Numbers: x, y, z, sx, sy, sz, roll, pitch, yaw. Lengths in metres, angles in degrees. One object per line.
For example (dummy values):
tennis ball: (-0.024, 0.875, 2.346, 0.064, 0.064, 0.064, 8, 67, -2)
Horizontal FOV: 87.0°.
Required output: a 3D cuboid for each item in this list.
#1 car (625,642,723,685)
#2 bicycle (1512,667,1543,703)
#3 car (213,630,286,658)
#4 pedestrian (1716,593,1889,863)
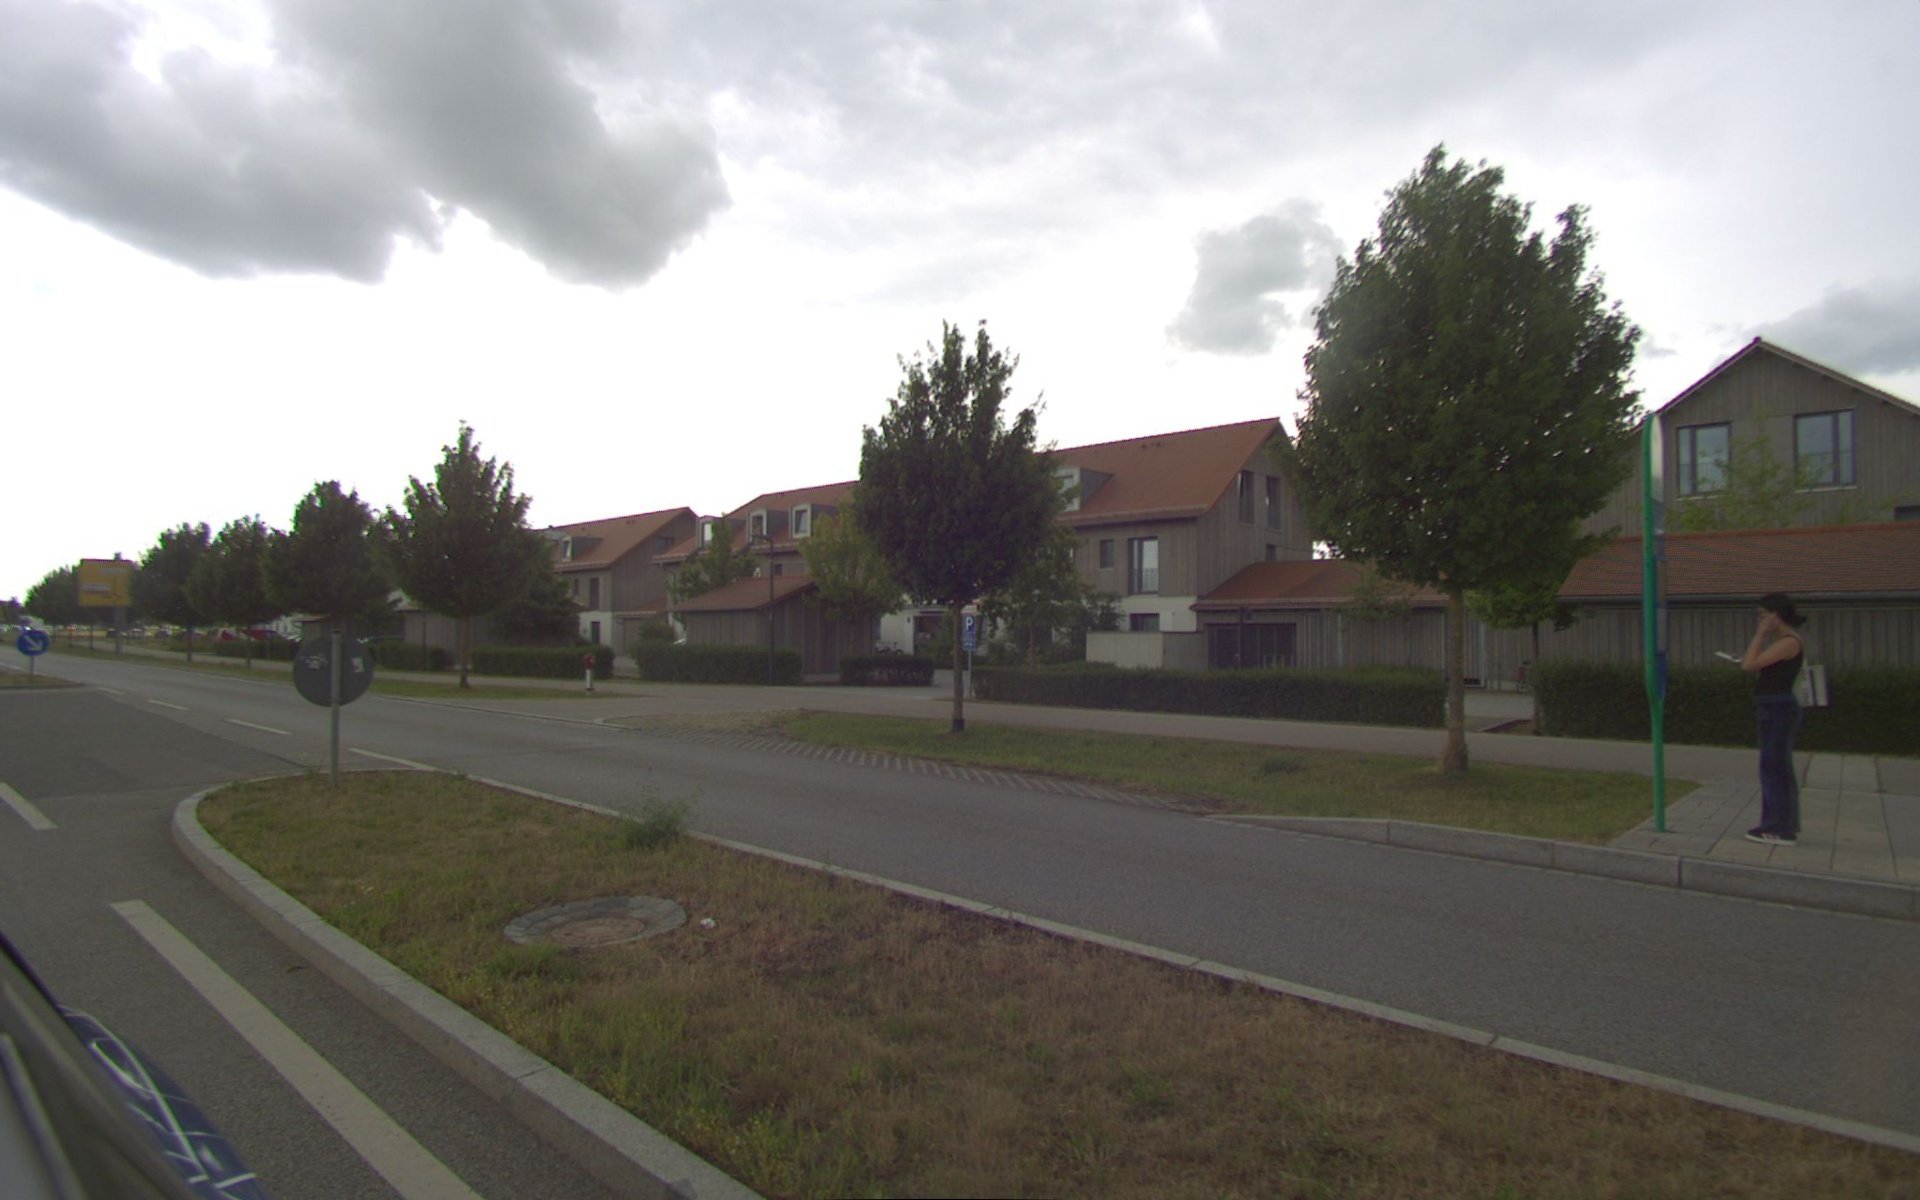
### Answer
car: (-11.088, 2.422, 39.407, 1.300, 1.450, 3.546, -1, 0, 41)
bicycle: (15.900, 2.367, 28.340, 0.419, 0.916, 1.922, -2, -3, 39)
car: (-56.914, 3.485, 81.095, 4.505, 2.029, 2.001, 0, 0, -44)
pedestrian: (5.539, 0.795, 6.677, 0.812, 1.649, 0.582, -2, -3, 41)
